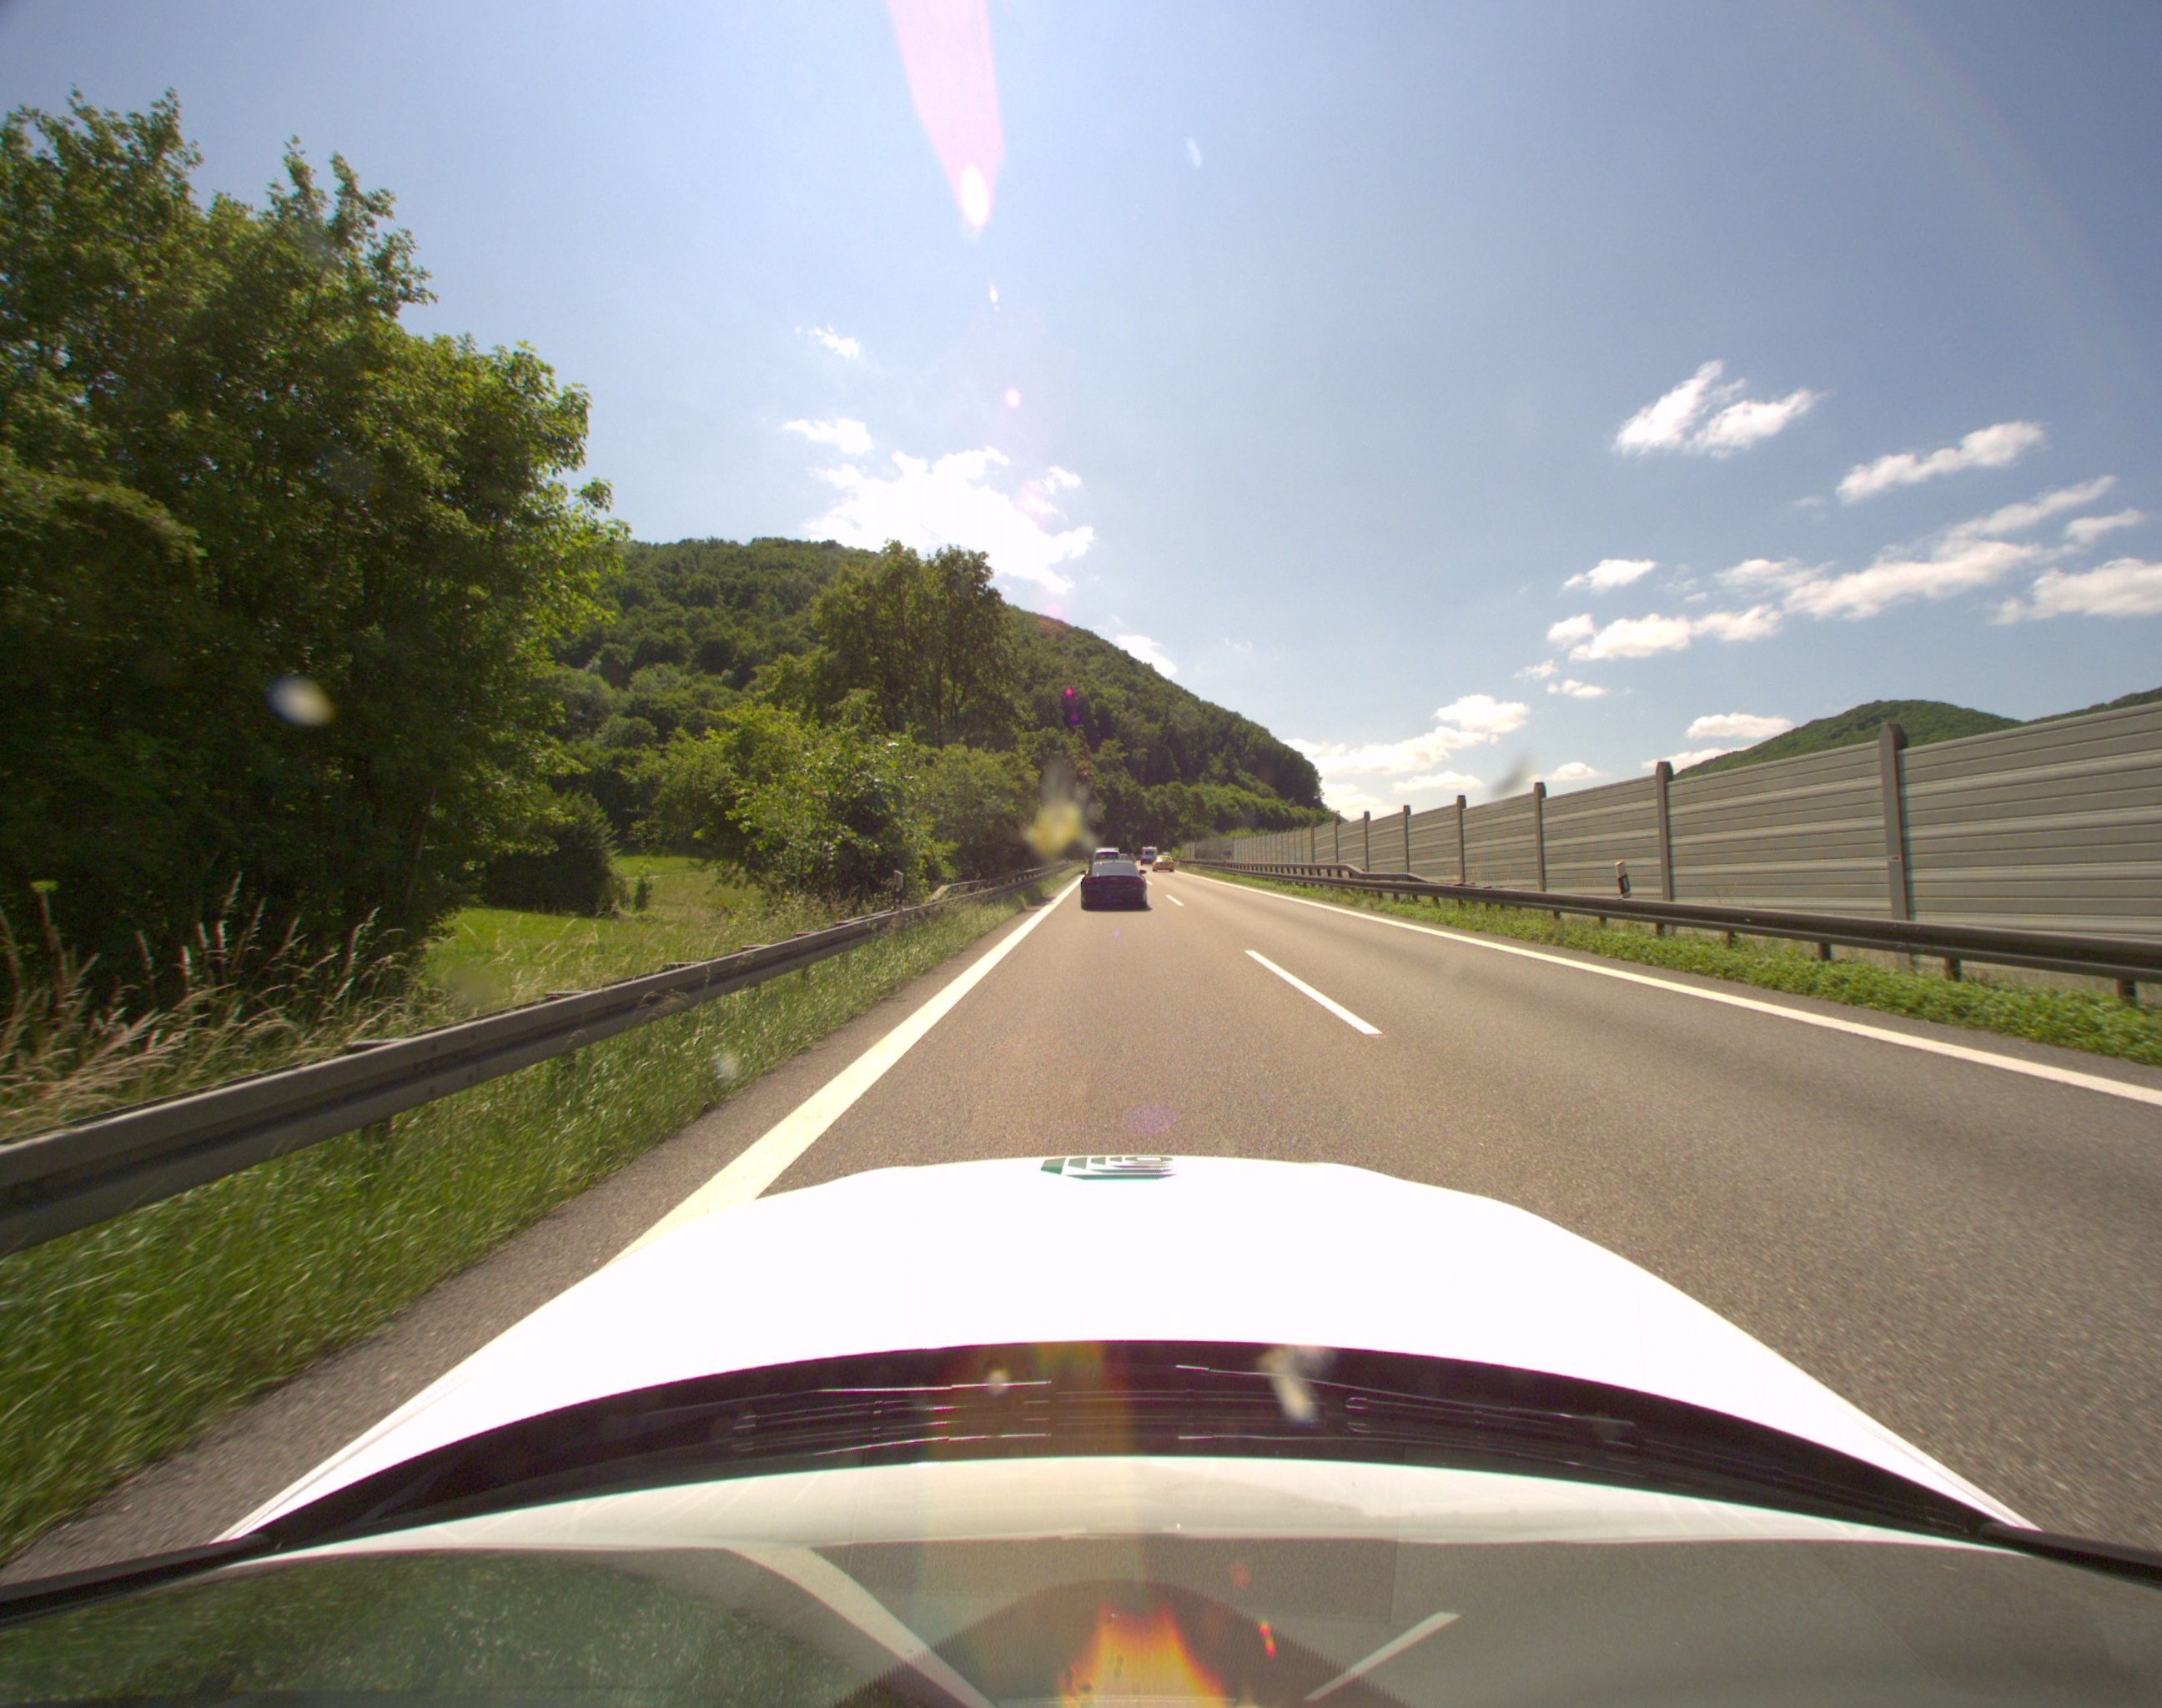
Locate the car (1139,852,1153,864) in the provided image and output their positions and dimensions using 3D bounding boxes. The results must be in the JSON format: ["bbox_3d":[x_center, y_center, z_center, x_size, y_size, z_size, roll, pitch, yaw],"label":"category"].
[{"bbox_3d":[9.033,0.561,113.634,1.766,1.637,4.001,0,-1,2],"label":"car"}]

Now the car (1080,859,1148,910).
[{"bbox_3d":[0.984,0.852,24.277,1.830,1.349,4.002,-1,-1,2],"label":"car"}]

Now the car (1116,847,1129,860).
[{"bbox_3d":[6.626,-0.118,130.389,1.986,2.014,4.001,0,-1,2],"label":"car"}]

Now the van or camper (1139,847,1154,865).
[{"bbox_3d":[11.108,0.352,137.527,2.444,2.918,6.132,0,-1,4],"label":"van or camper"}]

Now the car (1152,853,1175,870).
[{"bbox_3d":[7.535,0.674,74.509,1.855,1.488,4.003,0,-1,3],"label":"car"}]

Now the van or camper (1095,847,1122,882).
[{"bbox_3d":[1.505,0.584,44.343,1.386,1.816,4.002,0,-1,2],"label":"van or camper"}]

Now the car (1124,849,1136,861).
[{"bbox_3d":[8.805,0.213,145.689,1.983,2.014,4.007,0,-1,6],"label":"car"}]
